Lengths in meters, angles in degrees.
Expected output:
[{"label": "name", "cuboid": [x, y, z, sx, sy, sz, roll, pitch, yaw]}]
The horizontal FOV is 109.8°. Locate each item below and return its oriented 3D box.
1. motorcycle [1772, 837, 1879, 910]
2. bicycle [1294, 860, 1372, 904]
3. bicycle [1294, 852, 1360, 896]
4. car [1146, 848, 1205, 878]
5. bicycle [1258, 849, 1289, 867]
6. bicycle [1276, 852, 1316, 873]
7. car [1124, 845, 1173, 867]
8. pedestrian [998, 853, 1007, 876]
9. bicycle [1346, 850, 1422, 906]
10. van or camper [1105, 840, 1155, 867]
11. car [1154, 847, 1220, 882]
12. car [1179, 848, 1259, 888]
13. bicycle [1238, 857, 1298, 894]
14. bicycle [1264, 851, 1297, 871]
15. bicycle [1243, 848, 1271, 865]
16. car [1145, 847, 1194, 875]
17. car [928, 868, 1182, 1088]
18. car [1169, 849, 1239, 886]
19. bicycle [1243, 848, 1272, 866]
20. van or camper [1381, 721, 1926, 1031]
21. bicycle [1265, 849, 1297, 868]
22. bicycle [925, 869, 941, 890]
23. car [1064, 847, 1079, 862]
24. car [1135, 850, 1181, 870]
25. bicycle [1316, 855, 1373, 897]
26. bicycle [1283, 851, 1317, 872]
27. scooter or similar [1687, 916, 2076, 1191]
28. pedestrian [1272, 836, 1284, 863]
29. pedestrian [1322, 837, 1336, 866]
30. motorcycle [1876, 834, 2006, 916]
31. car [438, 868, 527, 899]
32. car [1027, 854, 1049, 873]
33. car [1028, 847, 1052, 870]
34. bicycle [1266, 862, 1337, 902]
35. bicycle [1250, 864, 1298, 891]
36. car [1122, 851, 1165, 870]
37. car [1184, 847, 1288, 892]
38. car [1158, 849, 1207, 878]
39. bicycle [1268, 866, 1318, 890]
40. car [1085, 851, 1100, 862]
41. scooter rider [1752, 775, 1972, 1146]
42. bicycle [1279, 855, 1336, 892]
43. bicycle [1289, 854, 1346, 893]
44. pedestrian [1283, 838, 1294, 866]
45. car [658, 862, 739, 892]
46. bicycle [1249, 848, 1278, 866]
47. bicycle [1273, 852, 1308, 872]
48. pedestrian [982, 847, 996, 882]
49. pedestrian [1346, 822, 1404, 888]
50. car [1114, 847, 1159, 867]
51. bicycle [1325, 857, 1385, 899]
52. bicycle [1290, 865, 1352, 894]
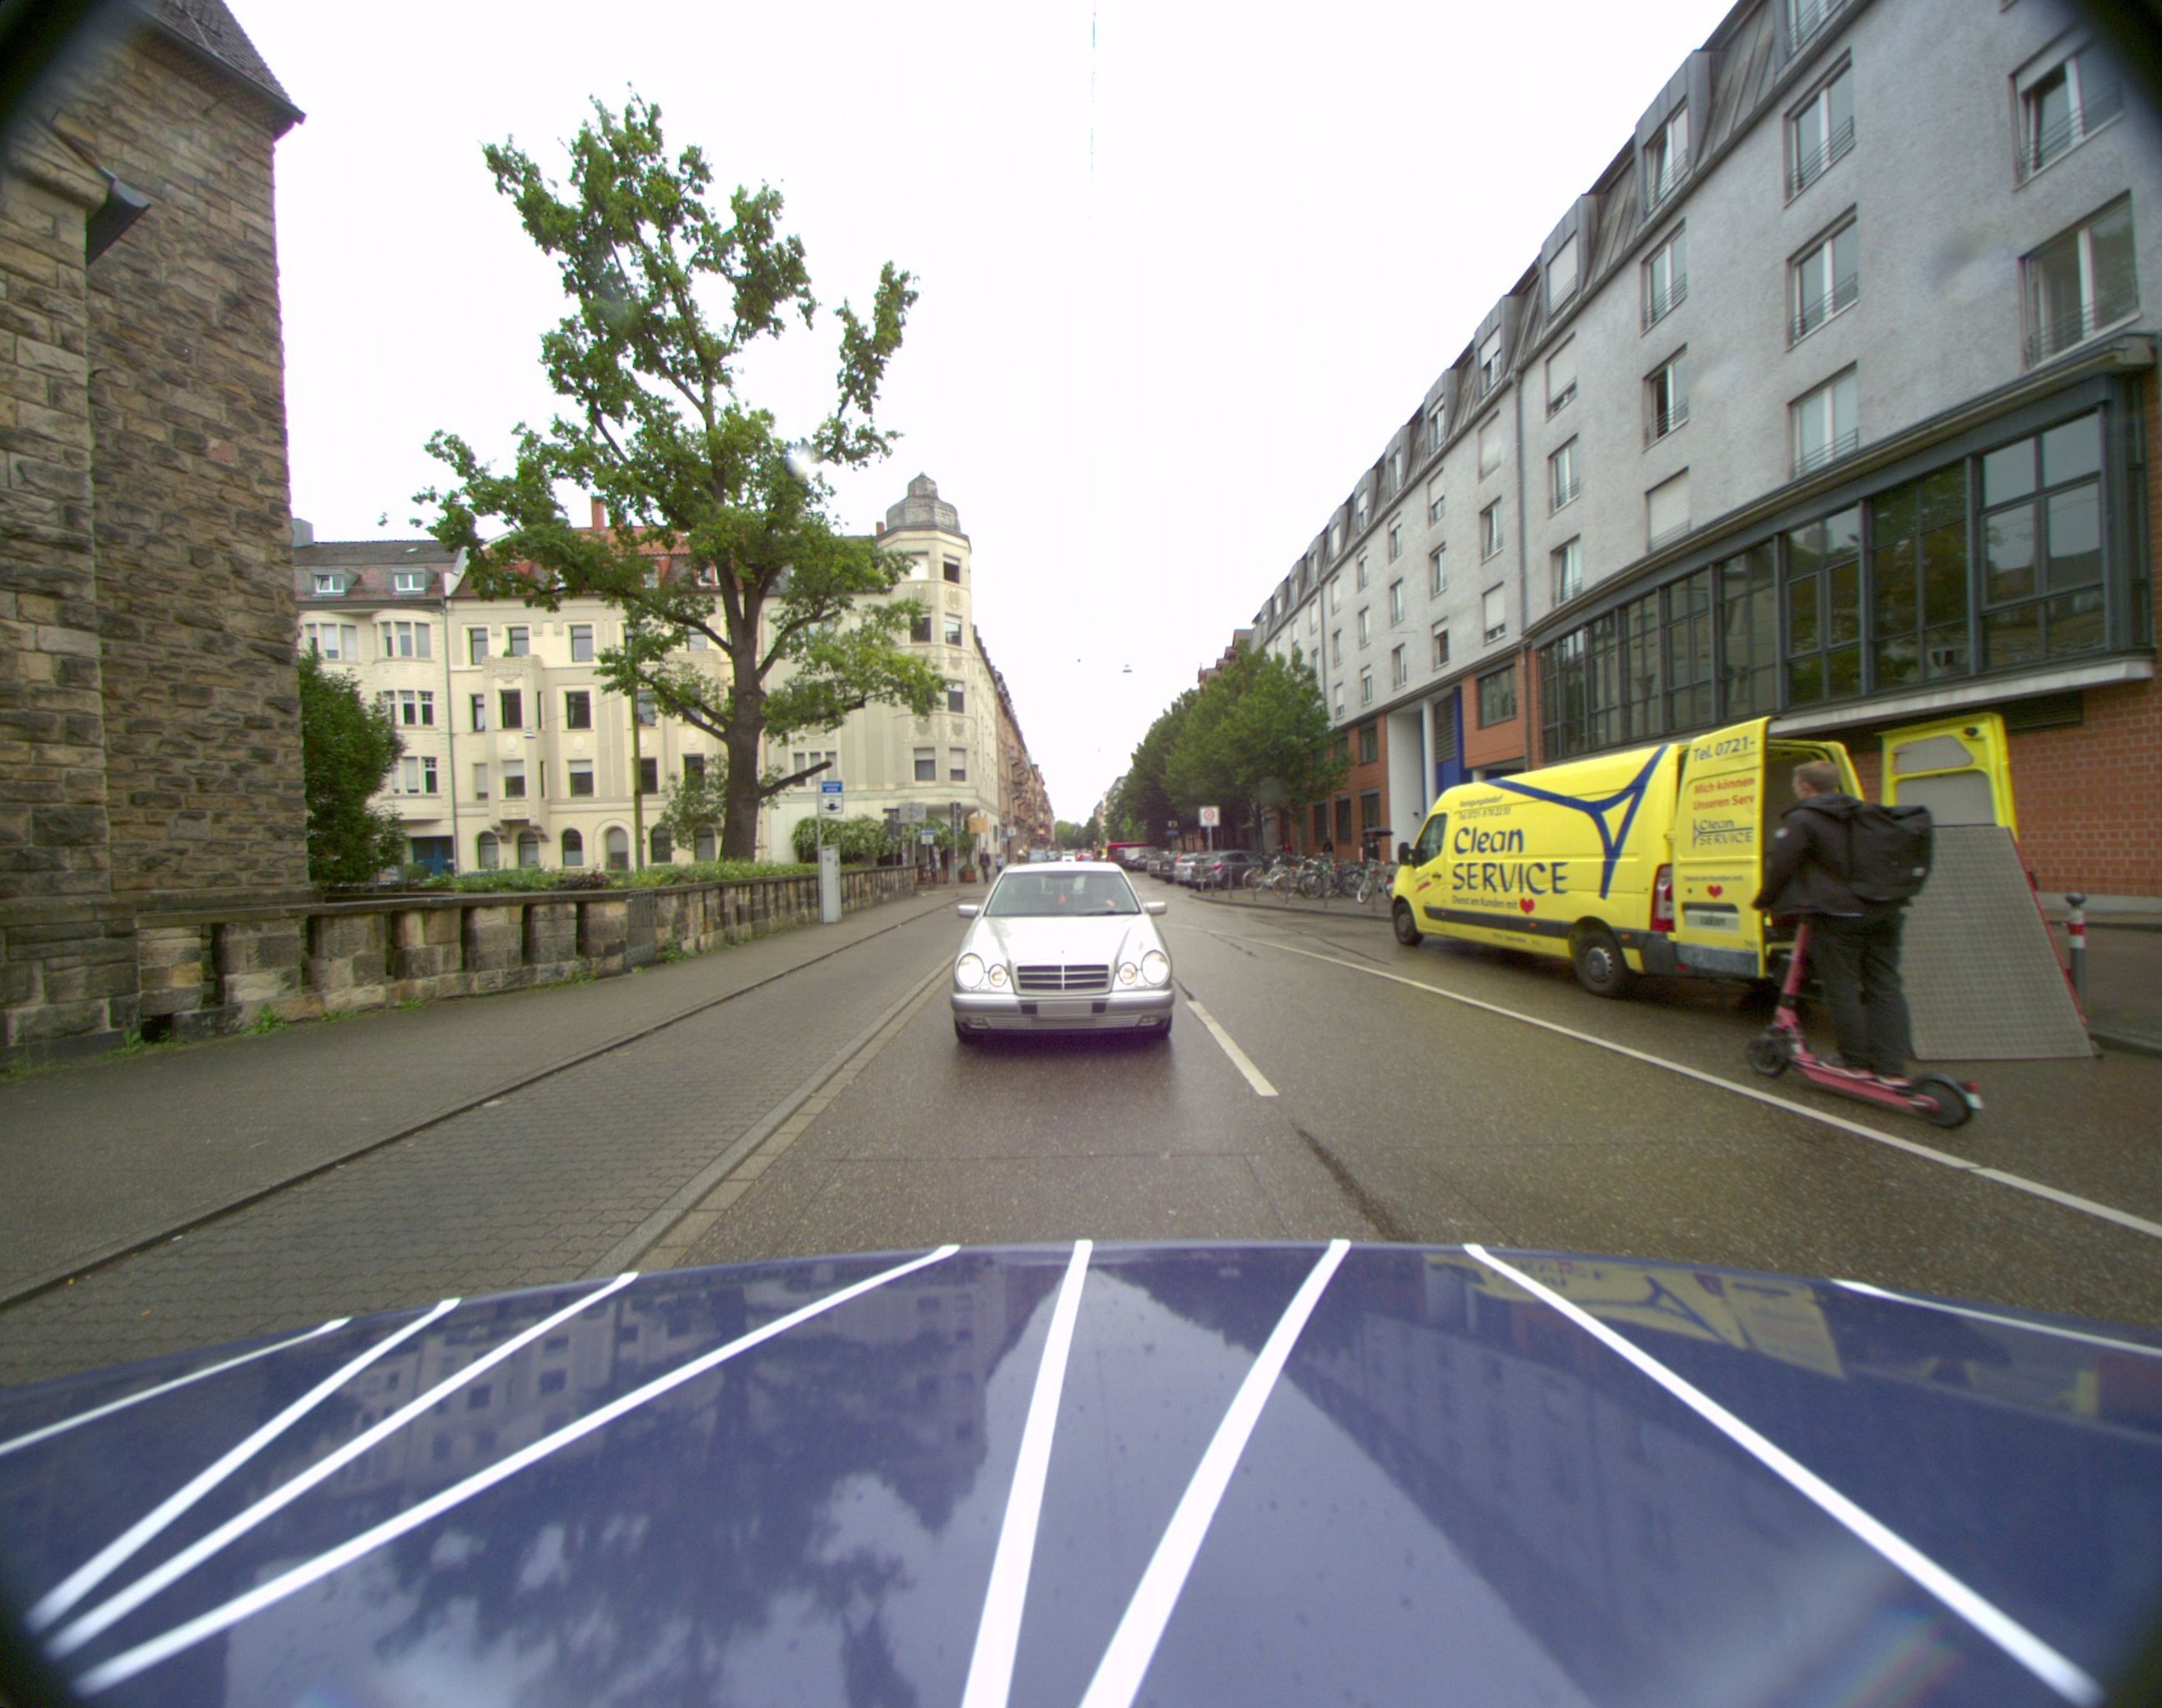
[{"label": "motorcycle", "cuboid": [13.068, 0.301, 13.405, 0.524, 1.174, 2.006, -3, 1, 19]}, {"label": "bicycle", "cuboid": [6.711, 0.736, 20.304, 1.858, 1.067, 0.609, -3, 1, 5]}, {"label": "bicycle", "cuboid": [7.257, 0.576, 22.440, 1.815, 1.187, 0.519, -3, 1, -13]}, {"label": "car", "cuboid": [5.367, 0.486, 43.110, 2.985, 1.546, 1.369, -3, 1, -29]}, {"label": "bicycle", "cuboid": [10.567, 0.222, 41.698, 1.590, 0.979, 0.465, -2, 1, -8]}, {"label": "bicycle", "cuboid": [10.609, 0.408, 37.525, 1.851, 0.979, 0.445, -2, 1, -8]}, {"label": "car", "cuboid": [5.990, 0.164, 67.050, 4.338, 1.884, 1.685, -1, 1, -41]}, {"label": "pedestrian", "cuboid": [-5.178, 0.691, 50.117, 0.482, 1.452, 0.392, -1, 1, 0]}, {"label": "bicycle", "cuboid": [7.571, 0.572, 18.942, 1.922, 1.209, 0.768, -6, 3, -35]}, {"label": "van or camper", "cuboid": [4.978, -0.077, 76.484, 4.604, 2.597, 1.999, -1, 1, -27]}, {"label": "car", "cuboid": [5.246, 0.512, 37.370, 3.084, 1.543, 1.449, -3, 1, -40]}, {"label": "car", "cuboid": [5.796, 0.561, 31.877, 3.083, 1.494, 1.449, -3, 1, -31]}, {"label": "bicycle", "cuboid": [6.103, 0.693, 24.805, 1.812, 1.099, 0.472, -3, 1, -5]}, {"label": "bicycle", "cuboid": [10.474, 0.367, 39.914, 1.590, 0.979, 0.445, -2, 1, -8]}, {"label": "bicycle", "cuboid": [10.650, 0.145, 46.002, 1.590, 0.979, 0.465, -2, 1, -8]}, {"label": "car", "cuboid": [5.338, 0.418, 45.867, 2.685, 1.546, 1.148, -3, 1, -29]}, {"label": "car", "cuboid": [-0.185, 0.917, 7.398, 1.764, 1.420, 3.999, -2, 0, 0]}, {"label": "car", "cuboid": [5.608, 0.588, 34.486, 3.084, 1.494, 1.449, -3, 1, -40]}, {"label": "bicycle", "cuboid": [10.214, 0.192, 43.973, 1.590, 0.979, 0.465, -2, 1, -8]}, {"label": "van or camper", "cuboid": [6.044, 0.177, 9.413, 2.201, 2.596, 5.941, -1, 0, -1]}, {"label": "bicycle", "cuboid": [10.683, 0.239, 40.533, 1.590, 0.979, 0.445, -2, 1, -8]}, {"label": "bicycle", "cuboid": [-7.307, 1.260, 37.566, 0.390, 0.888, 2.023, -1, 3, 0]}, {"label": "car", "cuboid": [-1.294, 0.014, 104.103, 1.998, 2.002, 4.000, -1, 1, 1]}, {"label": "car", "cuboid": [6.139, 0.454, 60.304, 1.685, 1.482, 3.799, 0, 1, 40]}, {"label": "bicycle", "cuboid": [7.473, 0.627, 21.582, 1.461, 1.096, 0.462, -3, 1, 14]}, {"label": "bicycle", "cuboid": [11.105, 0.382, 38.543, 1.590, 0.979, 0.445, -2, 1, -8]}, {"label": "scooter or similar", "cuboid": [4.316, 0.991, 4.261, 0.702, 1.158, 1.385, -1, 1, -2]}, {"label": "pedestrian", "cuboid": [11.849, -0.251, 45.723, 0.605, 1.601, 0.372, -2, 1, -1]}, {"label": "pedestrian", "cuboid": [13.103, -0.117, 40.161, 0.516, 1.521, 0.548, -1, 1, -3]}, {"label": "motorcycle", "cuboid": [13.299, 0.295, 11.814, 0.524, 1.174, 1.760, -3, 1, 19]}, {"label": "car", "cuboid": [-29.351, 1.425, 37.301, 3.270, 1.401, 1.448, -1, 1, 3]}, {"label": "car", "cuboid": [-3.129, 0.669, 56.332, 1.447, 1.348, 3.204, -1, 0, 0]}, {"label": "car", "cuboid": [-3.298, 0.354, 61.401, 1.726, 1.794, 3.462, -1, 0, 0]}, {"label": "bicycle", "cuboid": [6.132, 0.780, 21.142, 1.800, 0.987, 0.520, -3, 1, -2]}, {"label": "bicycle", "cuboid": [6.567, 0.803, 25.904, 1.473, 0.800, 0.497, -3, 1, 3]}, {"label": "car", "cuboid": [5.201, 0.485, 62.819, 1.685, 1.482, 3.799, 0, 1, 40]}, {"label": "car", "cuboid": [5.920, 0.559, 28.950, 3.629, 1.494, 1.736, -3, 2, -31]}, {"label": "car", "cuboid": [5.464, 0.500, 40.726, 2.506, 1.442, 1.191, -3, 1, -40]}, {"label": "bicycle", "cuboid": [7.043, 0.799, 25.277, 1.473, 0.717, 0.497, -3, 1, 3]}, {"label": "car", "cuboid": [1.454, 0.340, 98.114, 1.651, 1.301, 3.311, -1, 0, -2]}, {"label": "scooter rider", "cuboid": [4.306, 0.557, 4.221, 0.712, 1.924, 0.503, -1, 1, -2]}, {"label": "bicycle", "cuboid": [7.250, 0.610, 24.337, 1.610, 1.099, 0.520, -3, 1, -5]}, {"label": "bicycle", "cuboid": [7.377, 0.599, 23.688, 1.611, 1.099, 0.519, -3, 1, -13]}, {"label": "pedestrian", "cuboid": [12.357, -0.126, 45.271, 0.514, 1.601, 0.425, -2, 1, 1]}, {"label": "car", "cuboid": [-18.944, 1.144, 37.677, 3.270, 1.401, 1.448, -1, 1, 3]}, {"label": "bicycle", "cuboid": [10.799, 0.164, 44.868, 1.590, 0.979, 0.465, -2, 1, -8]}, {"label": "bicycle", "cuboid": [10.481, 0.402, 37.999, 1.590, 0.979, 0.445, -2, 1, -8]}, {"label": "pedestrian", "cuboid": [-4.964, 0.560, 40.958, 0.646, 1.862, 0.693, -1, 1, 0]}, {"label": "pedestrian", "cuboid": [9.052, 0.030, 23.452, 1.228, 1.870, 1.055, -6, 1, 0]}, {"label": "car", "cuboid": [5.201, 0.267, 70.563, 4.338, 1.822, 1.571, -1, 1, -41]}, {"label": "bicycle", "cuboid": [7.500, 0.652, 20.808, 1.462, 1.058, 0.418, -3, 1, 4]}, {"label": "bicycle", "cuboid": [7.278, 0.768, 23.032, 1.773, 0.757, 0.456, -3, 1, -13]}]
